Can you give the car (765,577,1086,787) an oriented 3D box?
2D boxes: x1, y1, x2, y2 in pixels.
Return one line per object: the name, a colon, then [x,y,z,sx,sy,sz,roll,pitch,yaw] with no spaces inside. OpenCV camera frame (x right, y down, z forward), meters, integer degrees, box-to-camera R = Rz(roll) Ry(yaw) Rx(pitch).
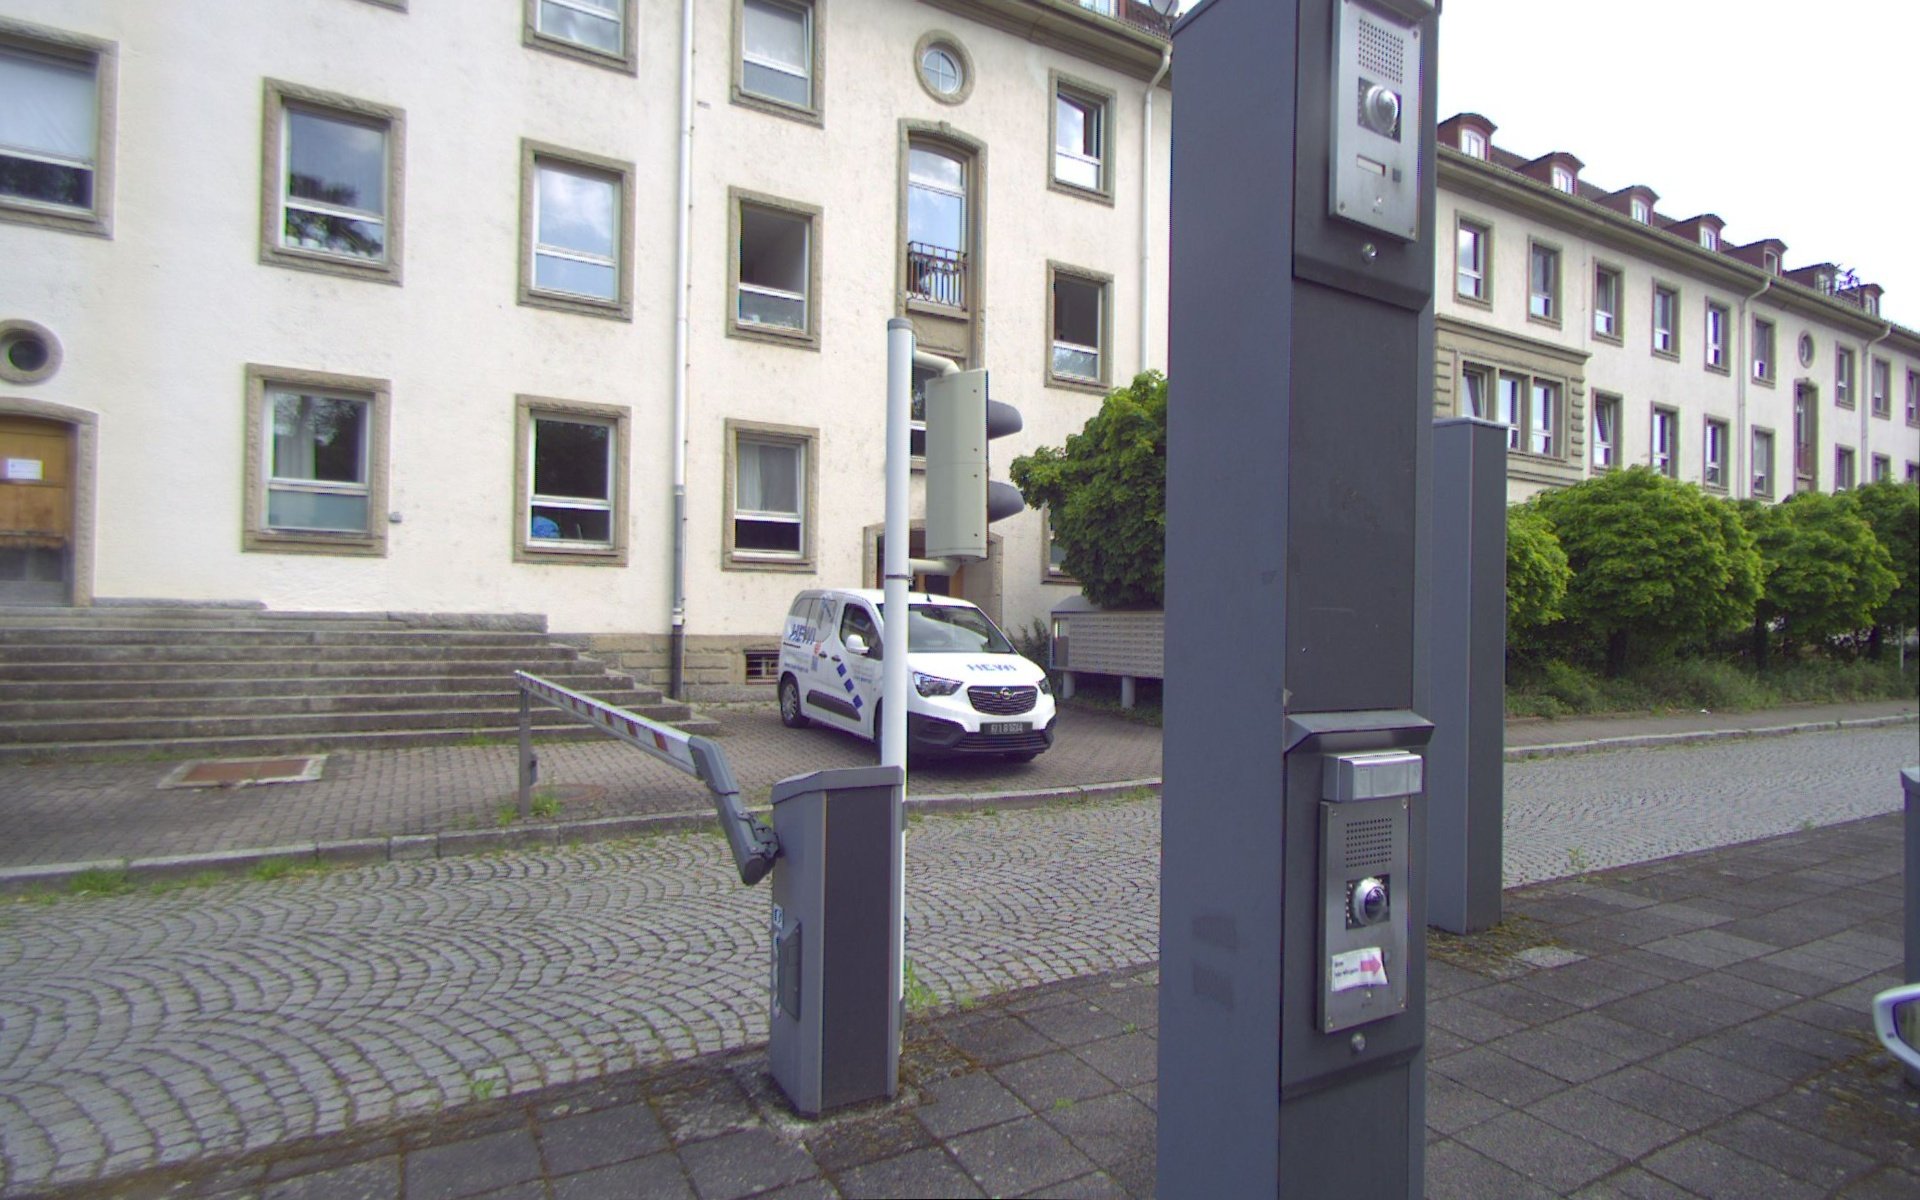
car: [-0.619,0.756,11.642,1.800,1.830,4.277,2,2,-31]
